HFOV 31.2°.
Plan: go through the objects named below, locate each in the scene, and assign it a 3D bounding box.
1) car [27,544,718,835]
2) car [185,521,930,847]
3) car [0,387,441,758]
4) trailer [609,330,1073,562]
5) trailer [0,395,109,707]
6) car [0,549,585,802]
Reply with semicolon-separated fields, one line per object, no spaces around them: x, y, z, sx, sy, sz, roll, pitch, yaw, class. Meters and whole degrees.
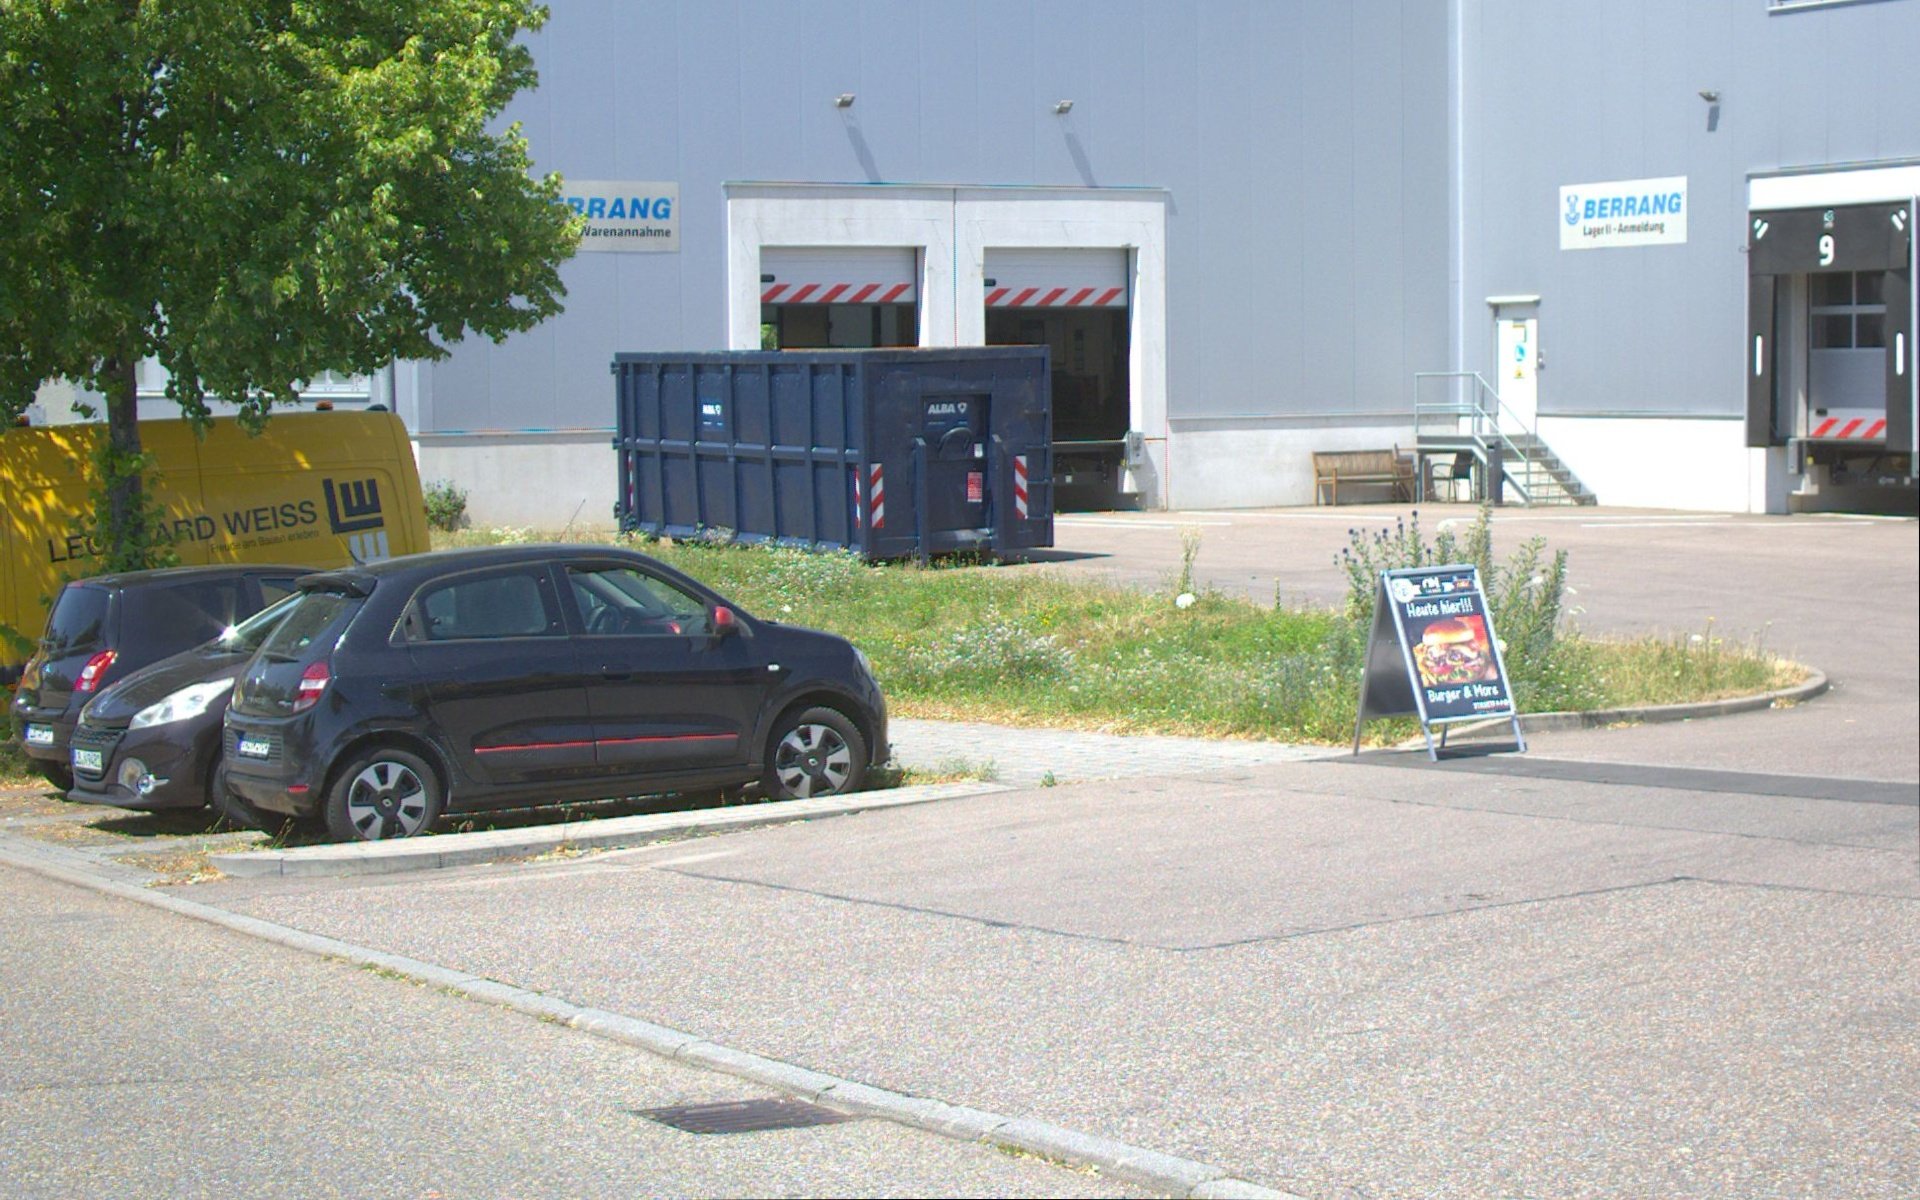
-3.527;0.473;20.821;3.770;1.502;1.591;-3;2;-31;car
-2.192;0.389;18.917;3.660;1.457;1.627;-4;3;-29;car
-7.231;-0.240;27.173;5.779;2.723;2.000;-4;4;-30;car
-1.623;-1.958;41.582;2.658;2.412;7.417;-1;5;-27;trailer
-10.664;-0.474;33.835;2.657;2.847;5.520;-4;4;-33;trailer
-4.534;0.452;23.229;3.602;1.473;1.628;-2;2;-31;car
